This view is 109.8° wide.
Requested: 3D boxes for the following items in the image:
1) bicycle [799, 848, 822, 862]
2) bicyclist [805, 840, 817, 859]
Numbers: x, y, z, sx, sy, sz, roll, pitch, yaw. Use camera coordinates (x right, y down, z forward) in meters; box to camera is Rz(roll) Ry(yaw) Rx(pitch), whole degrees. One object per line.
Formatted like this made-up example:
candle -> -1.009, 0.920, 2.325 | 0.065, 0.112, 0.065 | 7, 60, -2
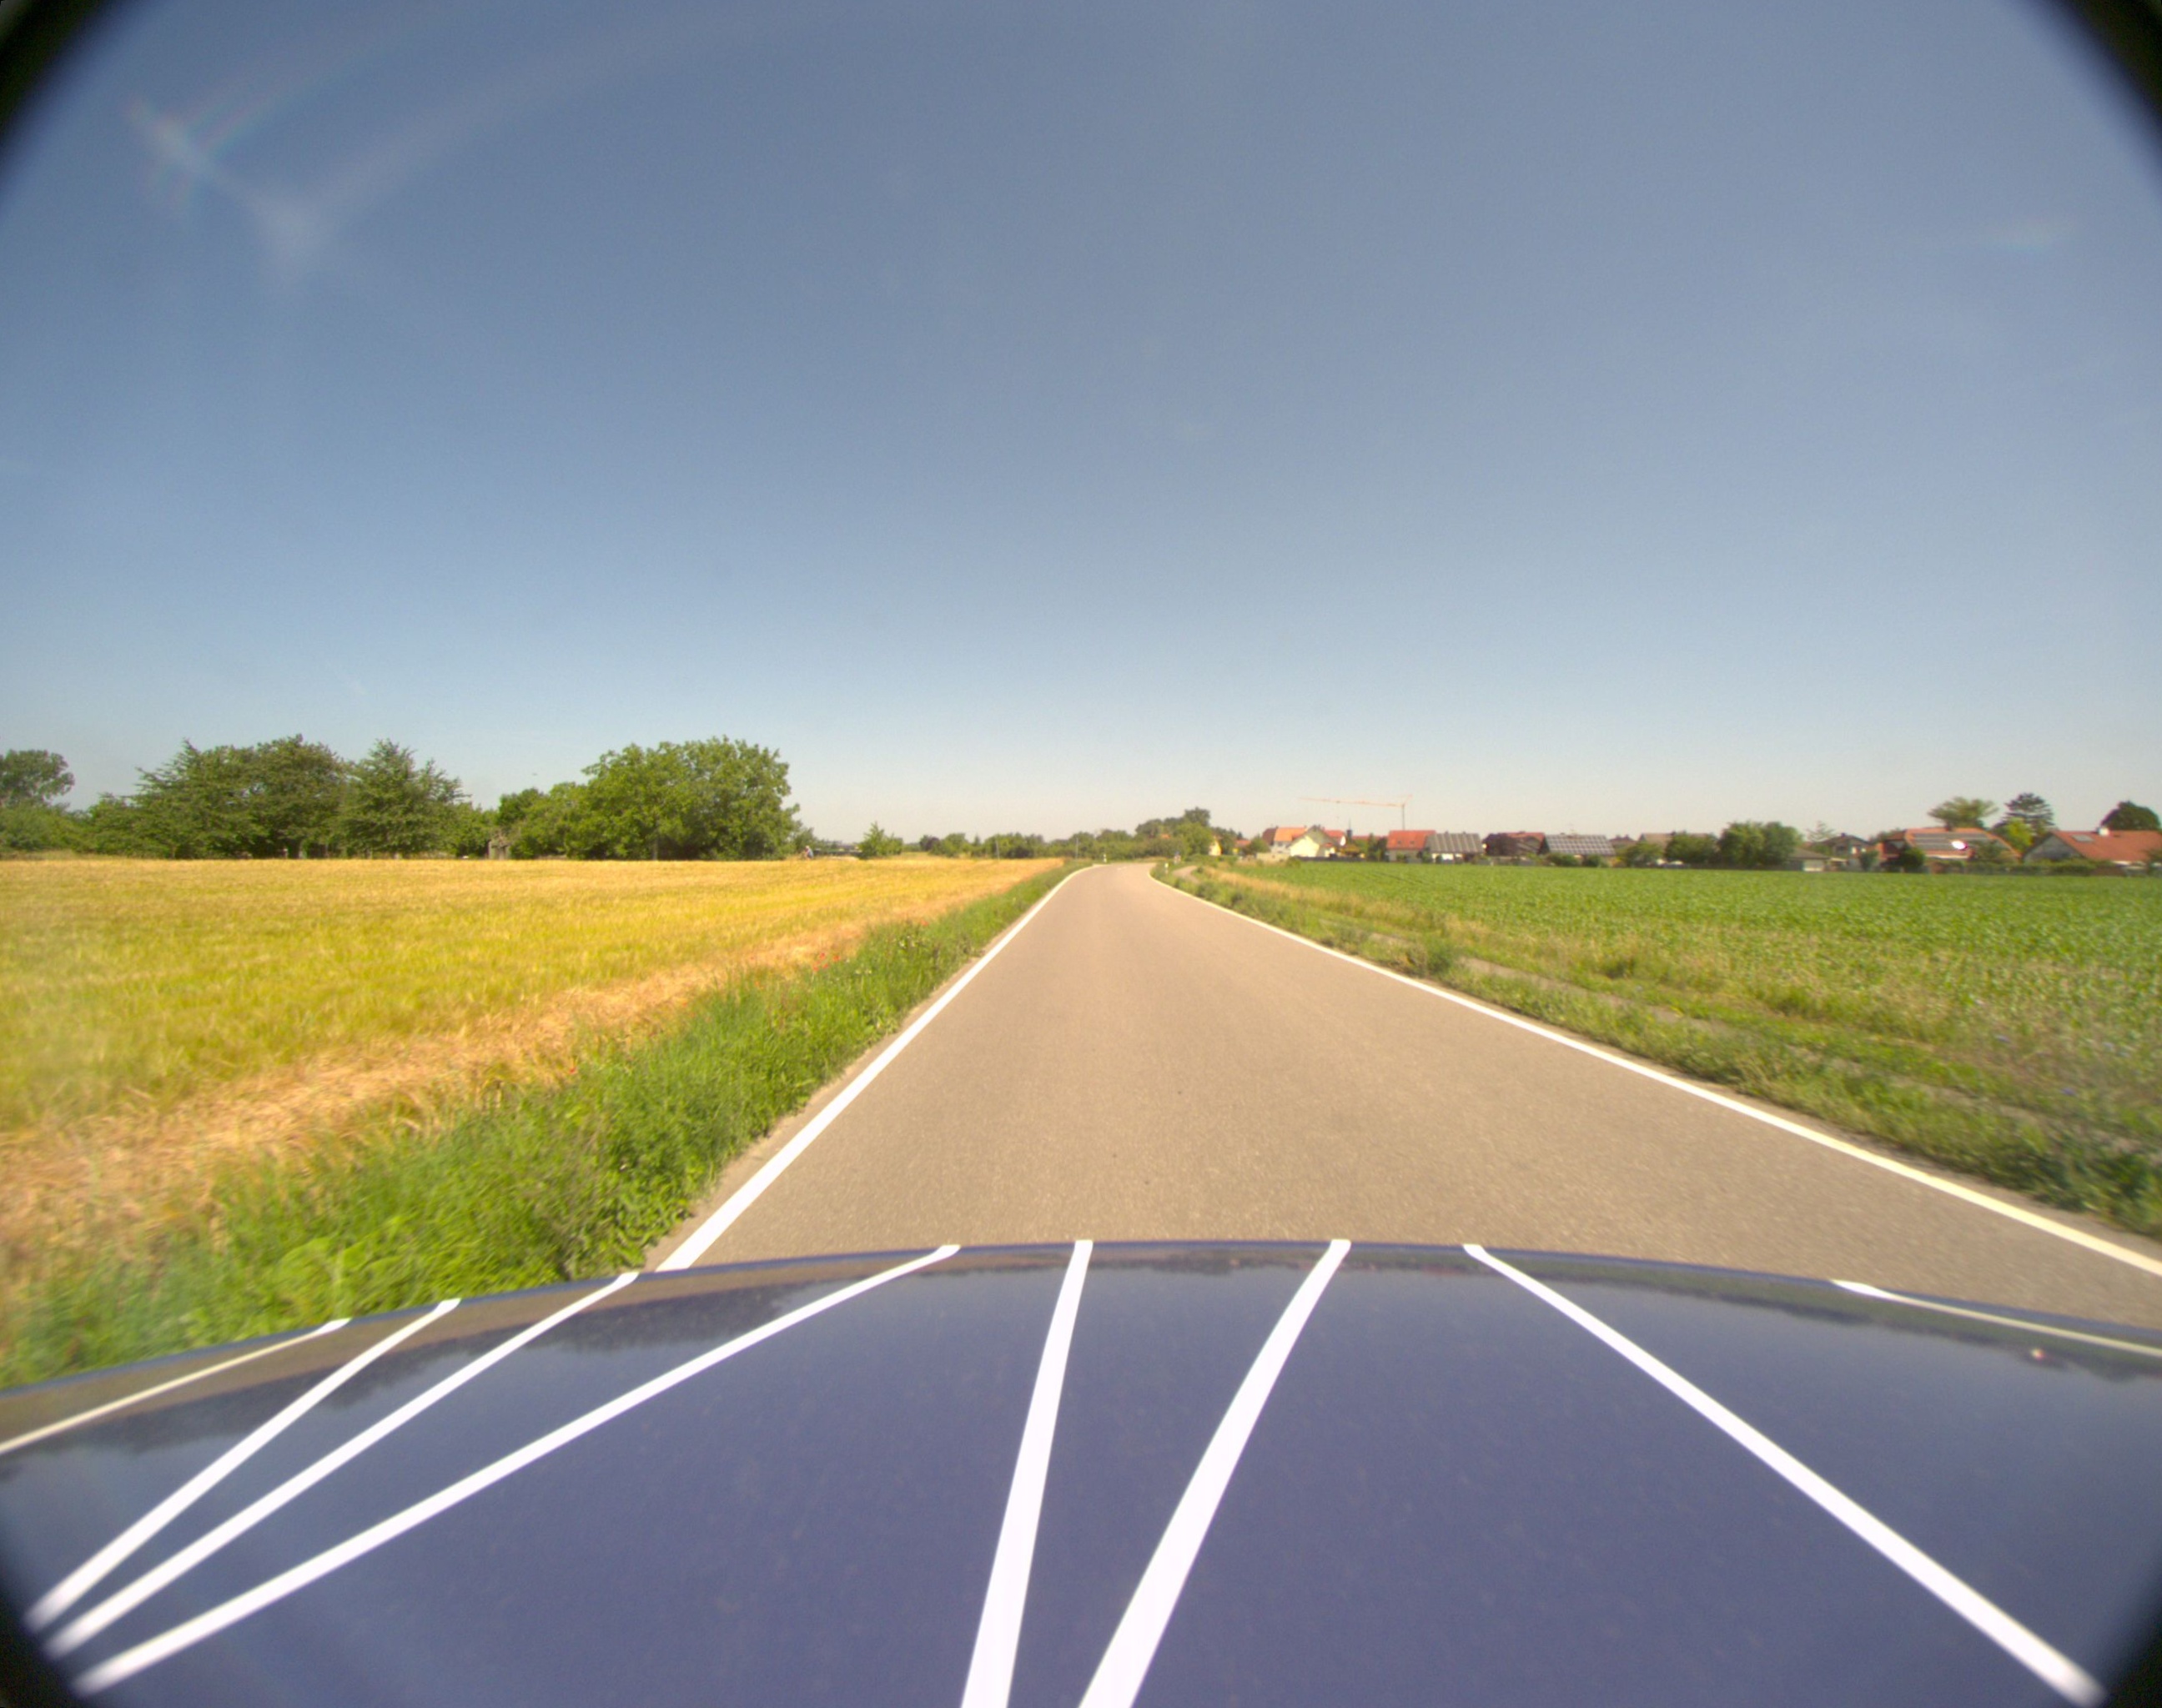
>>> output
bicycle -> -22.267, 0.067, 62.551 | 1.773, 1.109, 0.520 | 0, 1, -42
bicyclist -> -22.261, -0.349, 62.543 | 0.737, 1.565, 0.672 | 0, 2, -42
